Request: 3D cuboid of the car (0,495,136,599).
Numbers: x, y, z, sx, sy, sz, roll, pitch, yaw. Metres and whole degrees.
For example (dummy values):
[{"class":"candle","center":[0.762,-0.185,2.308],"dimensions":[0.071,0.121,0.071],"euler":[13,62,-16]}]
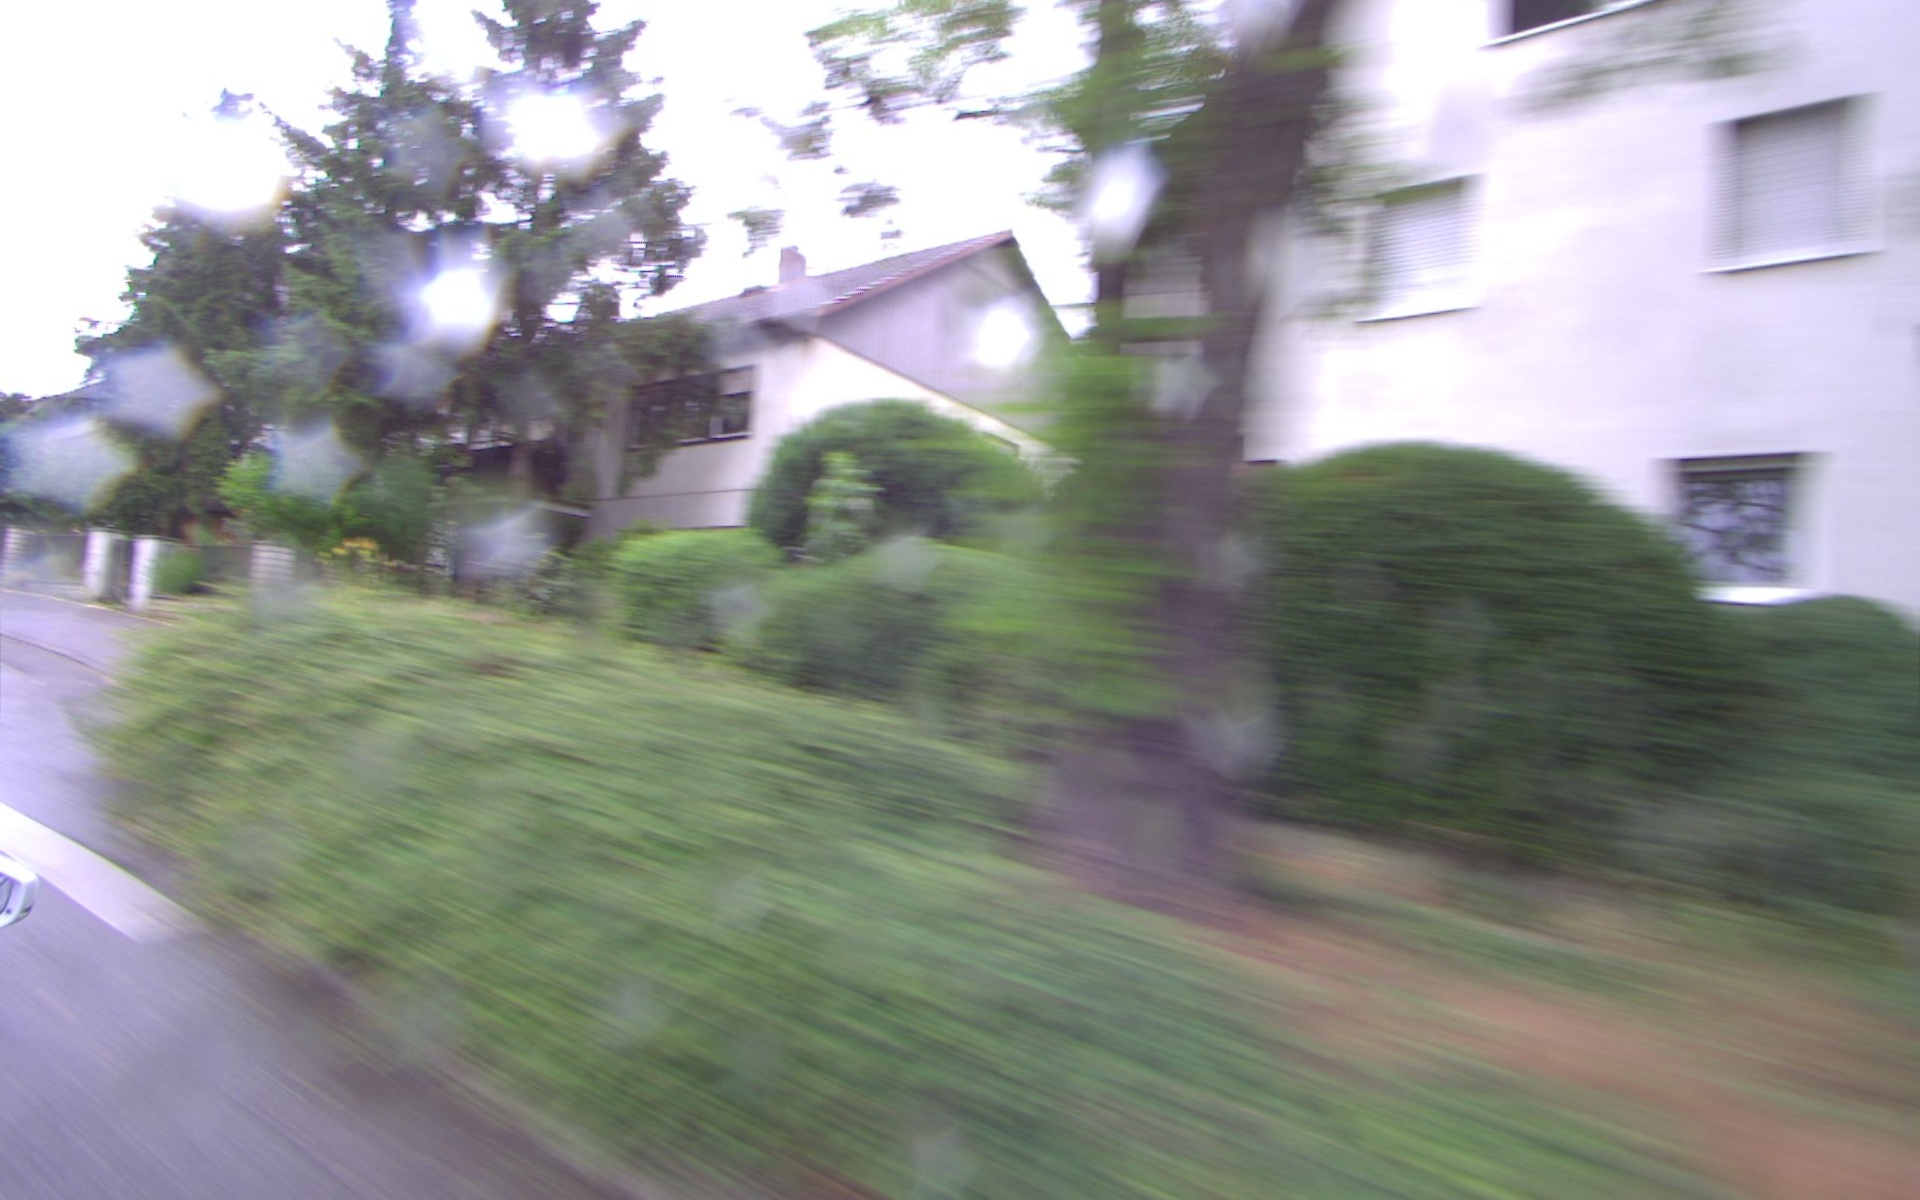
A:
[{"class":"car","center":[-19.639,-1.270,20.373],"dimensions":[1.747,1.704,4.022],"euler":[7,-6,29]}]
